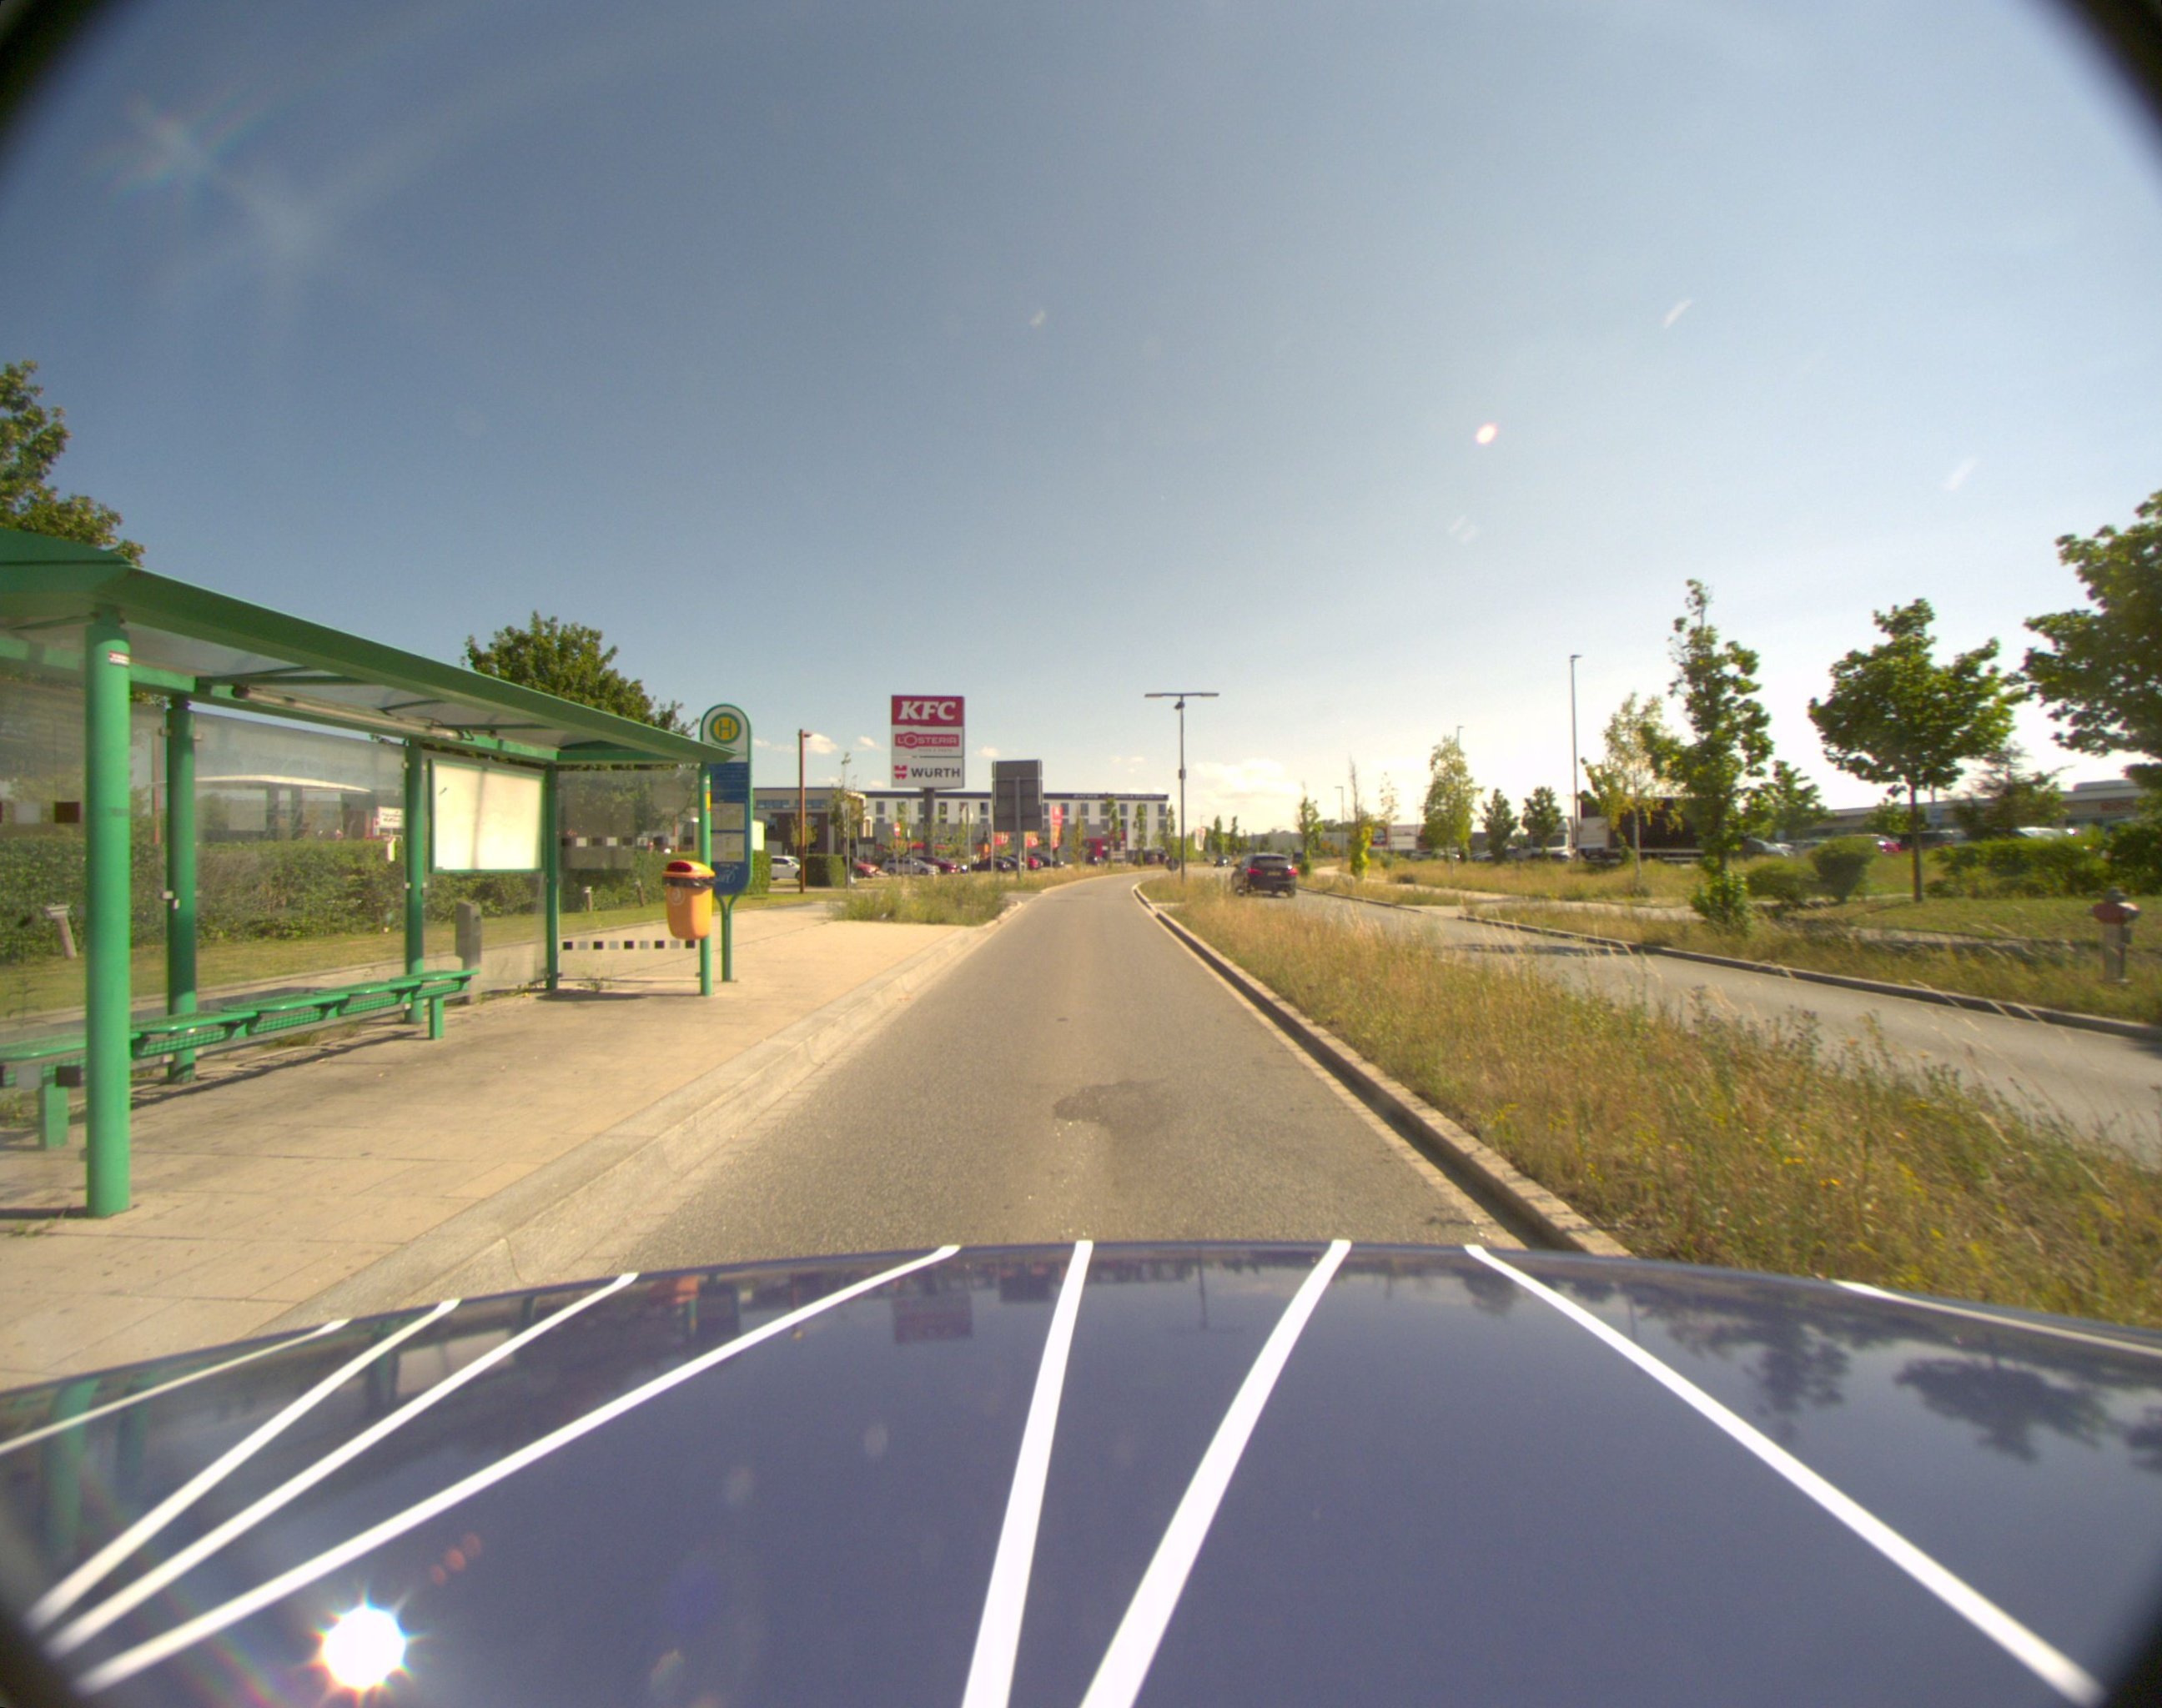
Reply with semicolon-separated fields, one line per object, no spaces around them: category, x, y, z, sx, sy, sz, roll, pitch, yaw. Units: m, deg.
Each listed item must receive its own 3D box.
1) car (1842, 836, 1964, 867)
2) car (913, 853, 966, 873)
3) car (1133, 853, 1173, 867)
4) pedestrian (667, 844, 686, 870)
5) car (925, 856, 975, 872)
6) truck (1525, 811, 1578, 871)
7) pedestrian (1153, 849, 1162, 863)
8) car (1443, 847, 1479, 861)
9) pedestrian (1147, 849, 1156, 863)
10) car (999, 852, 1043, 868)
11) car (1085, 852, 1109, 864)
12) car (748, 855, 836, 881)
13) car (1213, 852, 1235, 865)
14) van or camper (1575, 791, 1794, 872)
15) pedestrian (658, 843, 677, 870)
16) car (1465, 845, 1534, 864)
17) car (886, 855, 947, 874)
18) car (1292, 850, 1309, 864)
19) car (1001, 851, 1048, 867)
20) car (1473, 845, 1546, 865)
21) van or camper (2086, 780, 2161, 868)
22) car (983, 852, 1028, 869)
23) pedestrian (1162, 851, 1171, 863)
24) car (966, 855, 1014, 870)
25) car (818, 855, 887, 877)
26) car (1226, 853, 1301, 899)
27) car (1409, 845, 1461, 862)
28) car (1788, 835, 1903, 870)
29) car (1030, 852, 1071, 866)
car;43.821;-0.124;40.679;1.836;1.553;4.382;-1;0;0
car;-12.407;0.788;66.759;4.159;1.655;1.871;0;0;16
car;8.829;0.758;92.991;4.456;1.669;1.905;-1;-2;21
pedestrian;-31.280;0.218;58.752;0.915;2.002;0.891;0;1;5
car;-11.883;0.909;69.041;4.160;1.441;1.793;0;0;10
truck;29.543;-0.766;47.600;2.317;3.444;7.509;0;0;36
pedestrian;8.972;0.279;88.982;0.801;1.620;0.806;-1;0;23
car;51.636;0.015;103.345;4.148;1.850;1.935;0;0;21
pedestrian;8.343;0.251;89.721;0.809;1.619;0.867;-1;0;23
car;-6.622;0.701;83.808;4.410;1.724;1.794;0;0;20
car;2.223;0.569;102.402;1.781;1.531;4.176;0;0;24
car;-17.153;0.807;45.180;4.534;1.481;1.870;0;0;9
car;17.226;0.509;91.594;1.783;1.485;4.006;-1;0;23
van or camper;27.542;-0.974;35.006;7.707;3.448;2.557;-1;0;7
pedestrian;-31.258;0.215;57.486;0.915;2.002;0.891;0;1;5
car;33.792;0.018;61.441;4.581;1.450;1.840;-1;0;17
car;-13.446;0.850;62.208;4.562;1.481;1.871;0;0;12
car;28.863;0.382;99.769;1.953;1.784;4.433;1;0;19
car;-6.448;0.580;87.058;4.987;1.724;1.942;0;0;18
car;31.828;0.079;56.587;4.429;1.375;1.978;-1;0;17
van or camper;41.408;-1.131;26.816;2.435;3.252;7.236;-1;0;2
car;-8.018;0.711;80.925;4.410;1.724;1.794;0;0;20
pedestrian;10.091;0.341;89.220;0.793;1.461;0.950;-1;0;23
car;-9.114;0.869;76.338;4.410;1.441;1.794;0;0;19
car;-15.781;0.844;52.572;4.212;1.481;1.870;0;0;9
car;6.655;0.740;28.179;1.763;1.534;4.240;2;0;0
car;36.732;-0.005;78.811;4.765;1.633;2.120;-2;-2;26
car;40.898;-0.091;40.811;1.836;1.763;4.382;-1;0;0
car;-3.569;0.601;90.231;4.411;1.557;1.998;0;0;18
